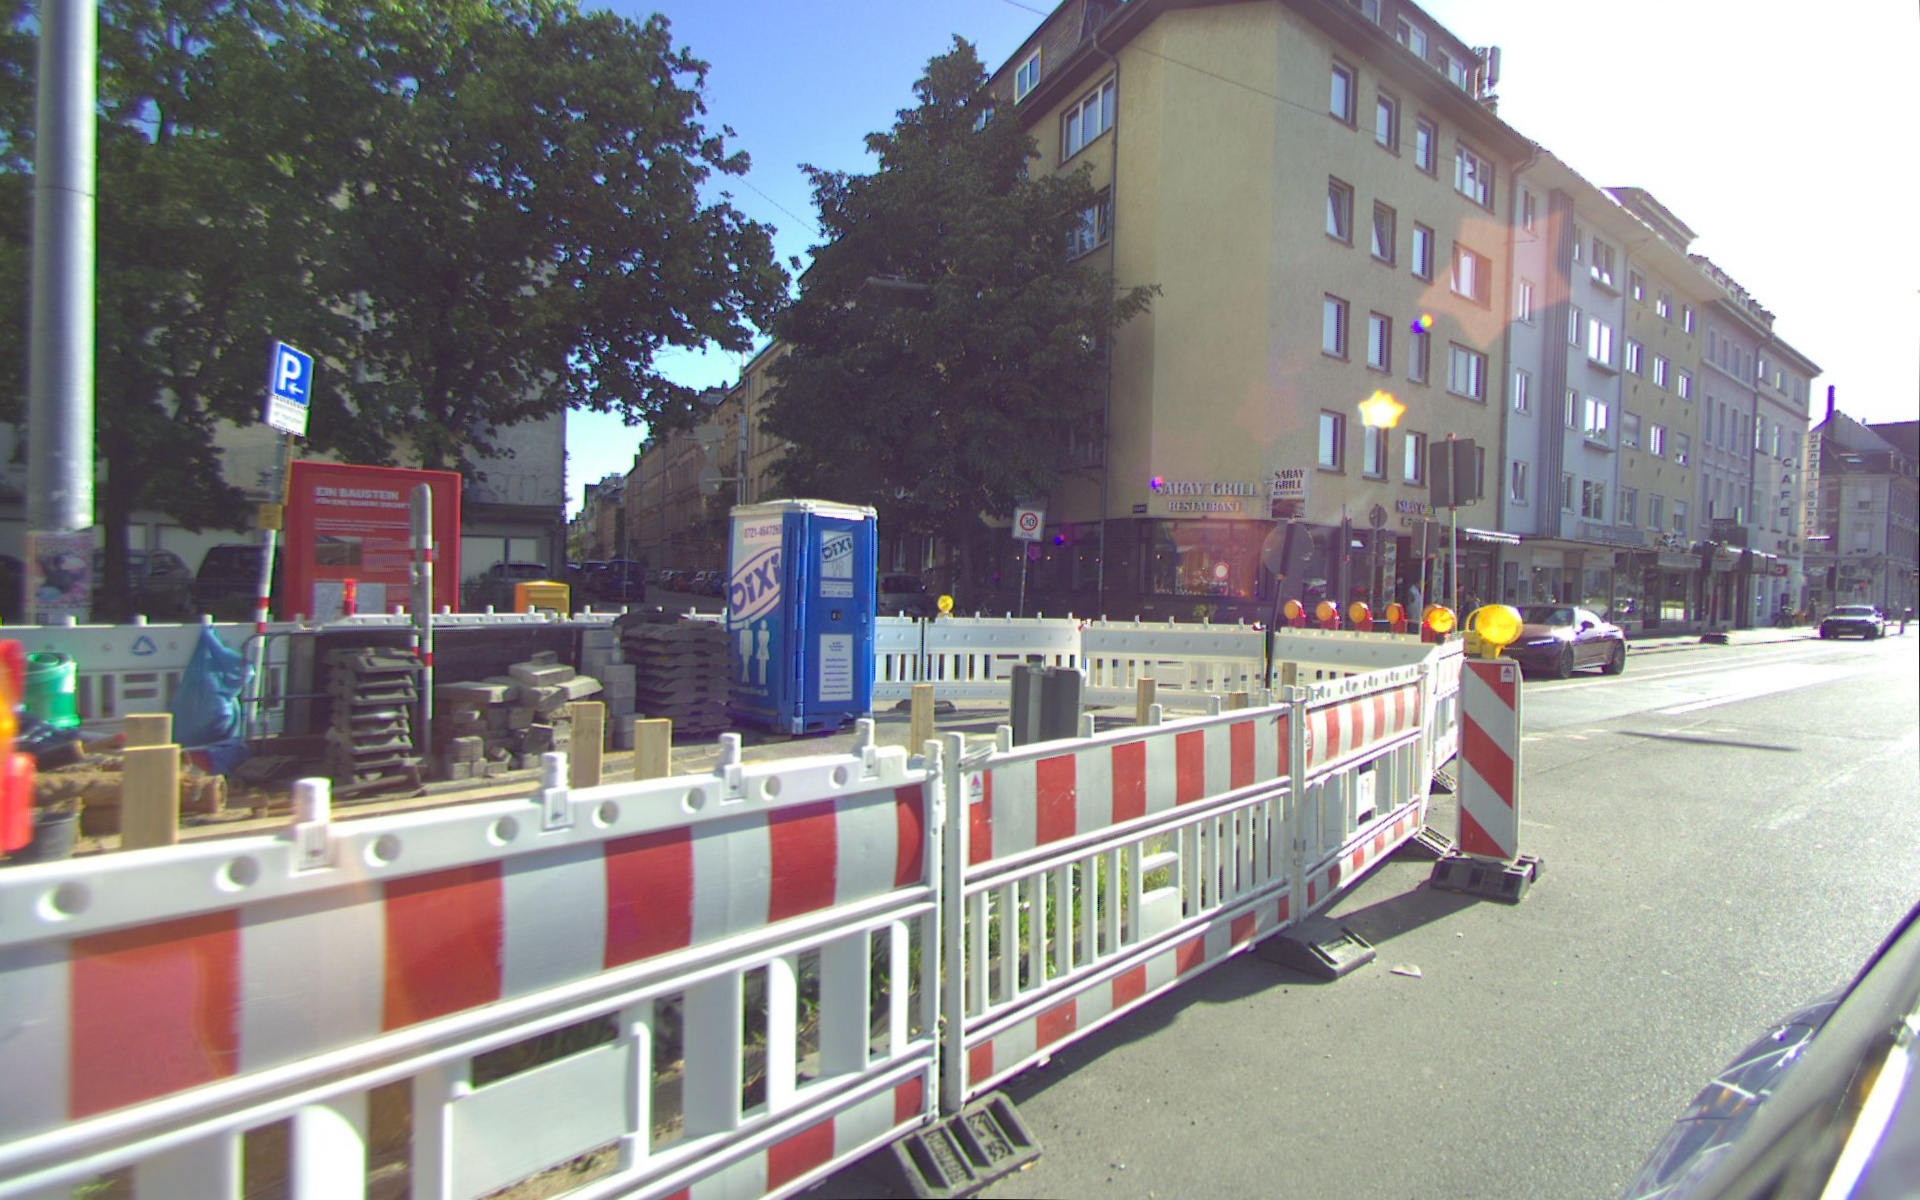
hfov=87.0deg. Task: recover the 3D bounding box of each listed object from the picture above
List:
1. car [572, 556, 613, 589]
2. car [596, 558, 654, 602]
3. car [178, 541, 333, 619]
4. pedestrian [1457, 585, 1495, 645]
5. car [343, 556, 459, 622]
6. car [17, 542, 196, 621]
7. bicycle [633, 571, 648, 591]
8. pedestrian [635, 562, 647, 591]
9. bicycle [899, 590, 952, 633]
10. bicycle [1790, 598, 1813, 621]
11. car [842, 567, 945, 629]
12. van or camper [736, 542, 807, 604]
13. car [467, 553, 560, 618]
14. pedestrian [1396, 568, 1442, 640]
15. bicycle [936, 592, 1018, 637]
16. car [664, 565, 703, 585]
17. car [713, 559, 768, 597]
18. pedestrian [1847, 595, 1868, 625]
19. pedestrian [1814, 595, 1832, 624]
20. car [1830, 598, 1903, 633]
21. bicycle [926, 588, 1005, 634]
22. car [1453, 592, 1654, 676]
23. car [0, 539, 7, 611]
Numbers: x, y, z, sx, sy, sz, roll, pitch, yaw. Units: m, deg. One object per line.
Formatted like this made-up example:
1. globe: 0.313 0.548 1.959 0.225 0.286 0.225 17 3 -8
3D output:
1. car: -22.295 -1.686 61.308 1.958 1.845 4.257 2 1 -24
2. car: -15.445 -0.945 46.561 1.958 1.845 4.256 2 1 -25
3. car: -16.005 -0.474 23.247 2.110 1.625 4.241 1 2 -24
4. pedestrian: 13.534 0.380 26.553 0.640 1.525 0.672 0 1 -40
5. car: -13.352 -0.313 24.403 2.049 1.436 4.288 1 2 -24
6. car: -18.574 -0.436 22.276 1.802 1.542 4.506 1 2 -24
7. bicycle: -18.659 -1.110 59.103 0.552 1.146 1.661 1 1 -26
8. pedestrian: -18.619 -1.371 59.067 0.543 1.644 0.514 1 1 -26
9. bicycle: -0.901 0.292 26.742 0.367 1.096 1.803 2 1 36
10. bicycle: 43.146 0.475 51.900 0.693 1.122 1.842 2 1 35
11. car: -2.065 -0.099 30.127 1.958 1.662 4.258 2 1 -19
12. van or camper: -8.562 -1.234 45.519 2.055 2.579 5.366 1 2 -22
13. car: -11.328 -0.418 25.940 1.949 1.504 4.388 1 2 -21
14. pedestrian: 12.348 0.103 27.224 0.884 1.878 0.731 2 0 -38
15. bicycle: 0.400 0.343 24.288 1.905 1.017 0.370 2 1 -4
16. car: -19.058 -1.734 69.611 1.958 1.282 4.257 2 1 -24
17. car: -11.570 -1.165 53.204 1.958 1.845 4.257 2 1 -24
18. pedestrian: 51.658 0.569 58.251 0.785 1.712 0.775 3 -1 -41
19. pedestrian: 50.859 0.552 59.622 0.665 1.711 0.663 0 1 -41
20. car: 39.728 0.629 44.315 4.635 1.448 1.902 0 0 -42
21. bicycle: 0.139 0.266 25.115 1.905 1.096 0.370 1 1 -4
22. car: 12.104 0.596 20.487 5.066 1.460 1.876 0 2 -40
23. car: -24.212 -0.602 22.423 4.419 1.657 2.151 0 2 -42
